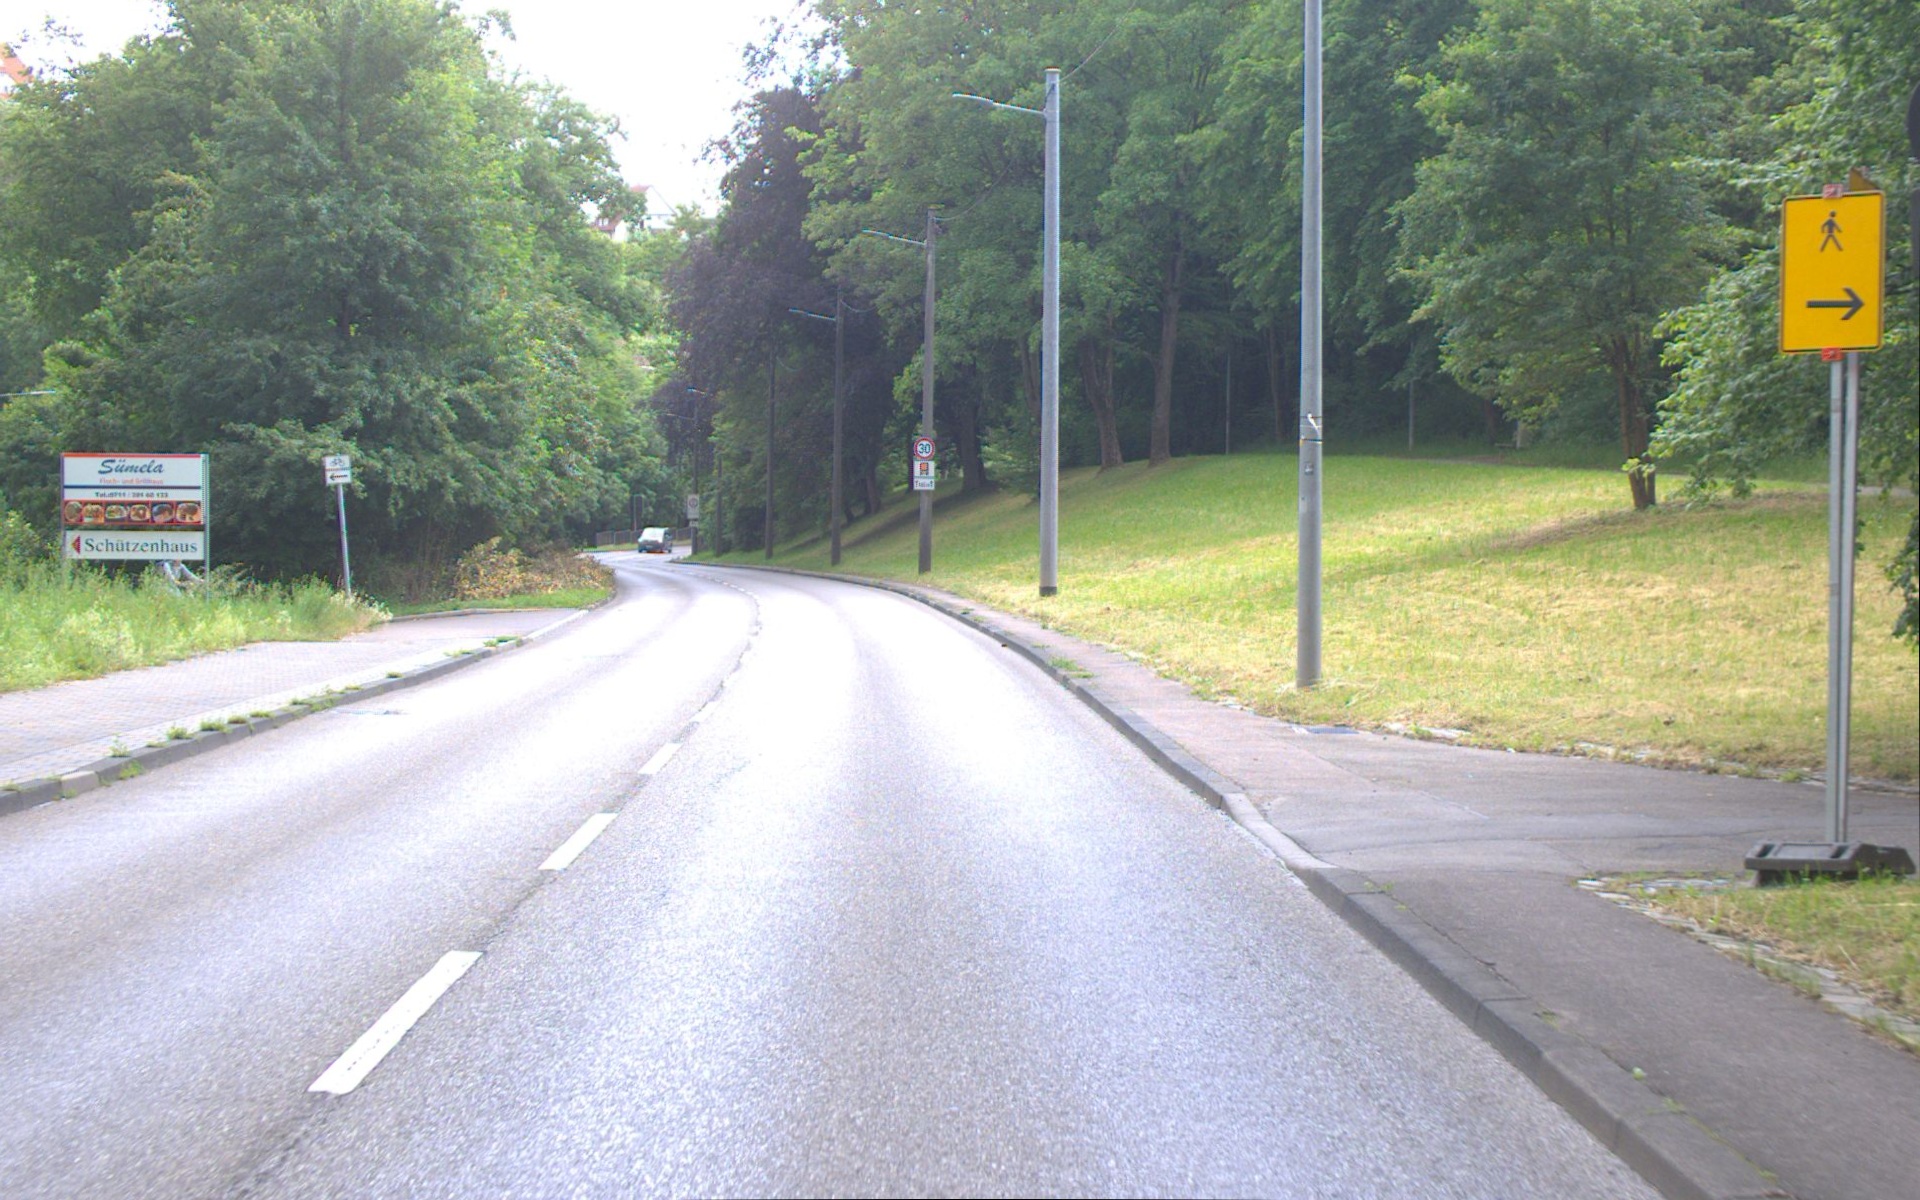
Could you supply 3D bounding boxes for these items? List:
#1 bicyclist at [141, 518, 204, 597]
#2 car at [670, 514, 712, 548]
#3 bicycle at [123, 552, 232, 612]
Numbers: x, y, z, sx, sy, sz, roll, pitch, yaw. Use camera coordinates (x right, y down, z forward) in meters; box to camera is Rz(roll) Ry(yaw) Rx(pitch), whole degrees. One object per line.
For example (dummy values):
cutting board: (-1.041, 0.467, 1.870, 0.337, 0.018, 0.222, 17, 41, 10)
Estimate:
bicyclist: (-14.291, -0.763, 62.384, 0.827, 1.423, 0.781, 0, 1, -44)
car: (-16.835, -4.302, 215.482, 1.994, 2.007, 3.999, 1, 0, 5)
bicycle: (-14.176, -0.328, 62.261, 0.829, 1.033, 2.442, 1, 1, -42)
